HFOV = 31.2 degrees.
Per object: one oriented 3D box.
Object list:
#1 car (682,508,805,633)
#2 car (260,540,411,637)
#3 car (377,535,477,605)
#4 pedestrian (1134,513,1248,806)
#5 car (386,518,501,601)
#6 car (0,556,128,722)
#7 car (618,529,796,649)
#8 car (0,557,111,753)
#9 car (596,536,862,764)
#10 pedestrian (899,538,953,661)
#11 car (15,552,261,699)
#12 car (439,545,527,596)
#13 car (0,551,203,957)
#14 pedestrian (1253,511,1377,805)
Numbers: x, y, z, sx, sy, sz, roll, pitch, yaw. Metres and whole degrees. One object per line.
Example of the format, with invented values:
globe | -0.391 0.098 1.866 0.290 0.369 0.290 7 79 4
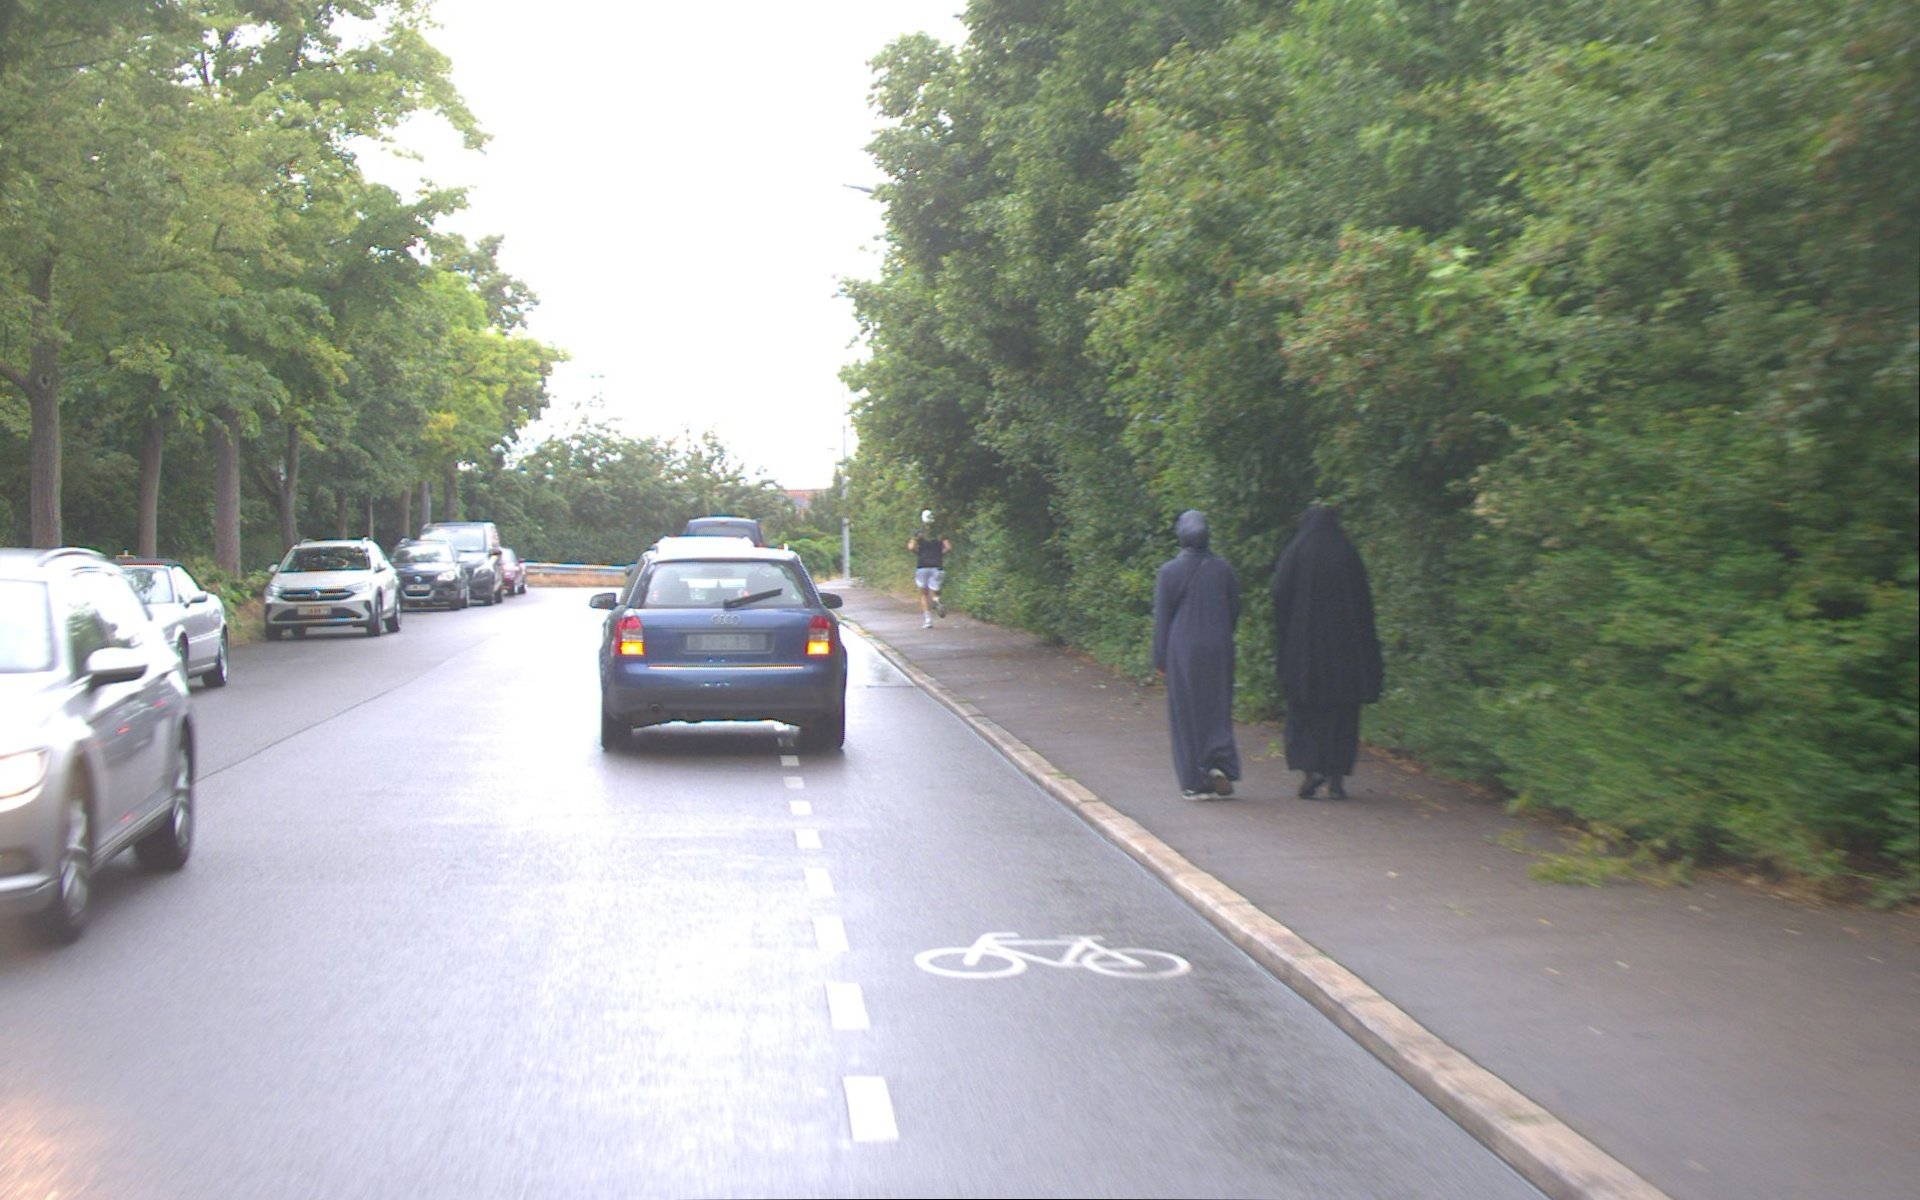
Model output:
car | -3.938 -0.501 61.986 1.788 1.947 4.000 -5 -1 -7
car | -9.753 -0.202 53.979 1.688 1.432 4.256 -1 1 -2
car | -11.389 -0.648 73.697 1.797 1.432 4.257 -1 1 -5
pedestrian | 1.256 0.316 18.731 0.552 1.561 0.487 -2 1 1
car | -11.917 -0.937 79.649 2.083 1.813 5.381 -1 1 -3
car | -8.386 0.312 30.117 1.595 1.357 4.002 -1 1 -6
car | -3.155 -0.141 42.210 1.890 1.384 4.001 -1 0 -8
car | -7.894 0.415 25.690 1.993 1.400 4.714 -2 1 -1
car | -1.772 0.306 25.320 1.747 1.402 4.001 2 2 -6
pedestrian | -0.524 -0.020 52.503 0.716 1.828 1.021 -2 1 -2
car | -8.489 0.223 35.849 1.754 1.397 4.420 -1 1 -4
car | -12.555 -0.788 90.676 1.789 1.292 4.326 -1 1 -2
car | -4.288 0.530 13.897 1.883 1.397 4.257 -1 1 -6
pedestrian | 1.920 0.302 18.671 0.595 1.561 0.669 -1 1 1
